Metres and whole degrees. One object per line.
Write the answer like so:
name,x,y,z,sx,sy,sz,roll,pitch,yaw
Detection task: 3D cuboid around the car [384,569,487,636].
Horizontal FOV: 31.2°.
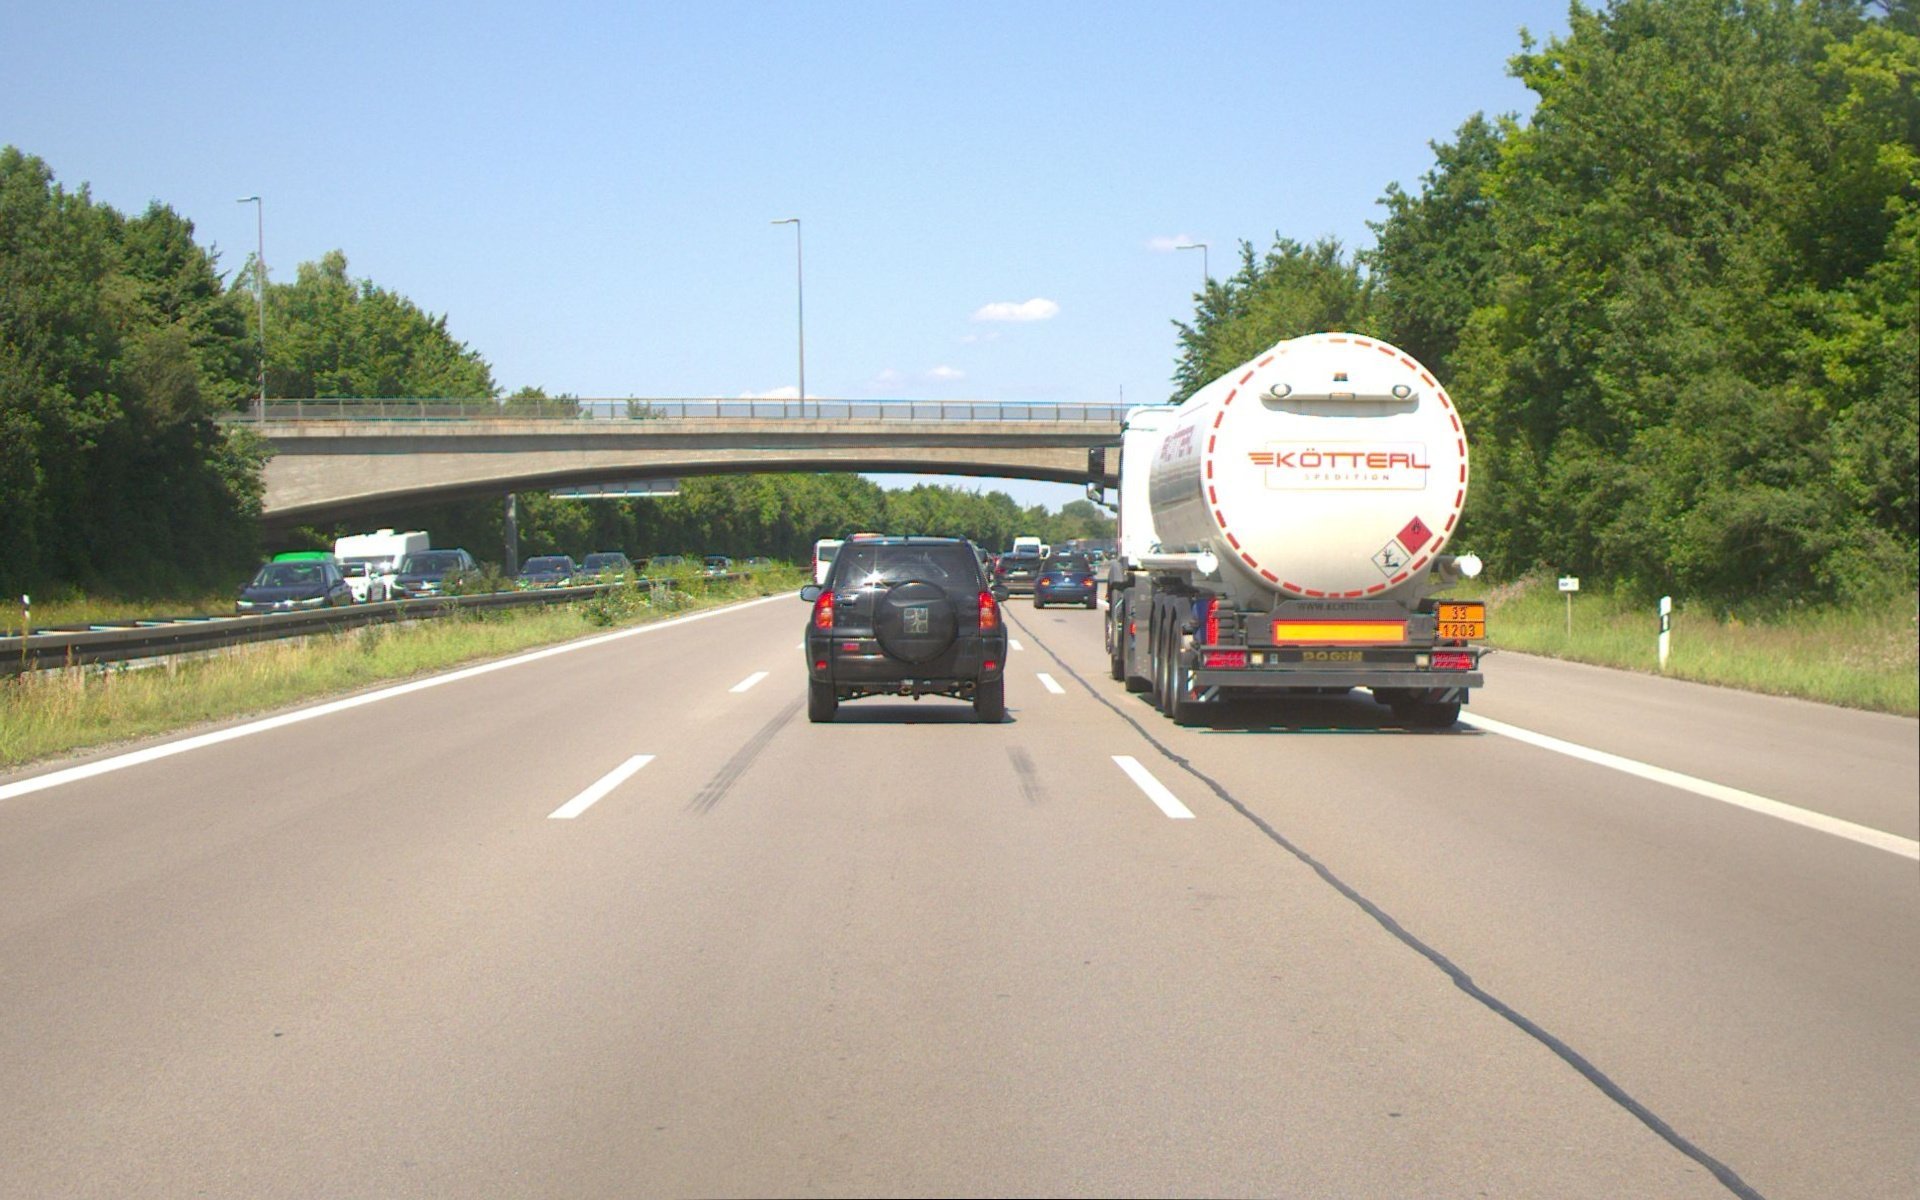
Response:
car,-12.754,0.065,83.874,1.849,1.568,4.422,-1,0,0

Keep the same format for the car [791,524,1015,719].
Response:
car,-0.532,0.165,31.598,1.906,1.659,4.000,-1,1,-1

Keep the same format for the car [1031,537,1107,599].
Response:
car,3.066,-0.898,97.525,1.993,1.678,4.000,-1,0,-1

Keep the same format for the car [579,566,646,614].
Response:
car,-12.162,-0.357,120.557,1.915,1.596,4.434,-1,1,0

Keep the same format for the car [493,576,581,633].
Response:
car,-12.787,0.119,104.139,1.993,1.599,5.090,-1,1,0

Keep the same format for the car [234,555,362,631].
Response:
car,-12.807,-0.155,66.677,1.716,1.385,4.000,-1,1,0

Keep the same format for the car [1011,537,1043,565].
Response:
car,4.229,-3.125,218.524,1.812,1.740,4.000,-1,1,-2

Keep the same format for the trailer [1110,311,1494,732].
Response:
trailer,3.000,-0.709,33.315,2.648,3.378,11.152,0,1,0

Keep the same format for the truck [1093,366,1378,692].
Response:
truck,2.984,-0.781,38.909,2.638,3.363,6.488,0,1,0

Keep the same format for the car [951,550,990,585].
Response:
car,0.546,-1.704,179.735,1.993,1.744,4.205,-1,1,0

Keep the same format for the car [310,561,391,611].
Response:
car,-20.312,-0.487,114.703,1.846,1.601,4.810,-1,1,0

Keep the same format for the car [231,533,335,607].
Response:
car,-17.107,-0.769,87.083,1.814,1.802,4.382,-1,1,-1

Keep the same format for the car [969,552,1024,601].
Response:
car,1.274,-0.789,117.873,1.842,1.606,4.000,-1,0,1

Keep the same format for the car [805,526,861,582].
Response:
car,-4.722,-1.699,128.071,1.993,2.007,4.950,-1,1,-2

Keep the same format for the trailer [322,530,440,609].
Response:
trailer,-20.369,-1.109,121.384,2.731,2.678,8.630,-1,1,0
